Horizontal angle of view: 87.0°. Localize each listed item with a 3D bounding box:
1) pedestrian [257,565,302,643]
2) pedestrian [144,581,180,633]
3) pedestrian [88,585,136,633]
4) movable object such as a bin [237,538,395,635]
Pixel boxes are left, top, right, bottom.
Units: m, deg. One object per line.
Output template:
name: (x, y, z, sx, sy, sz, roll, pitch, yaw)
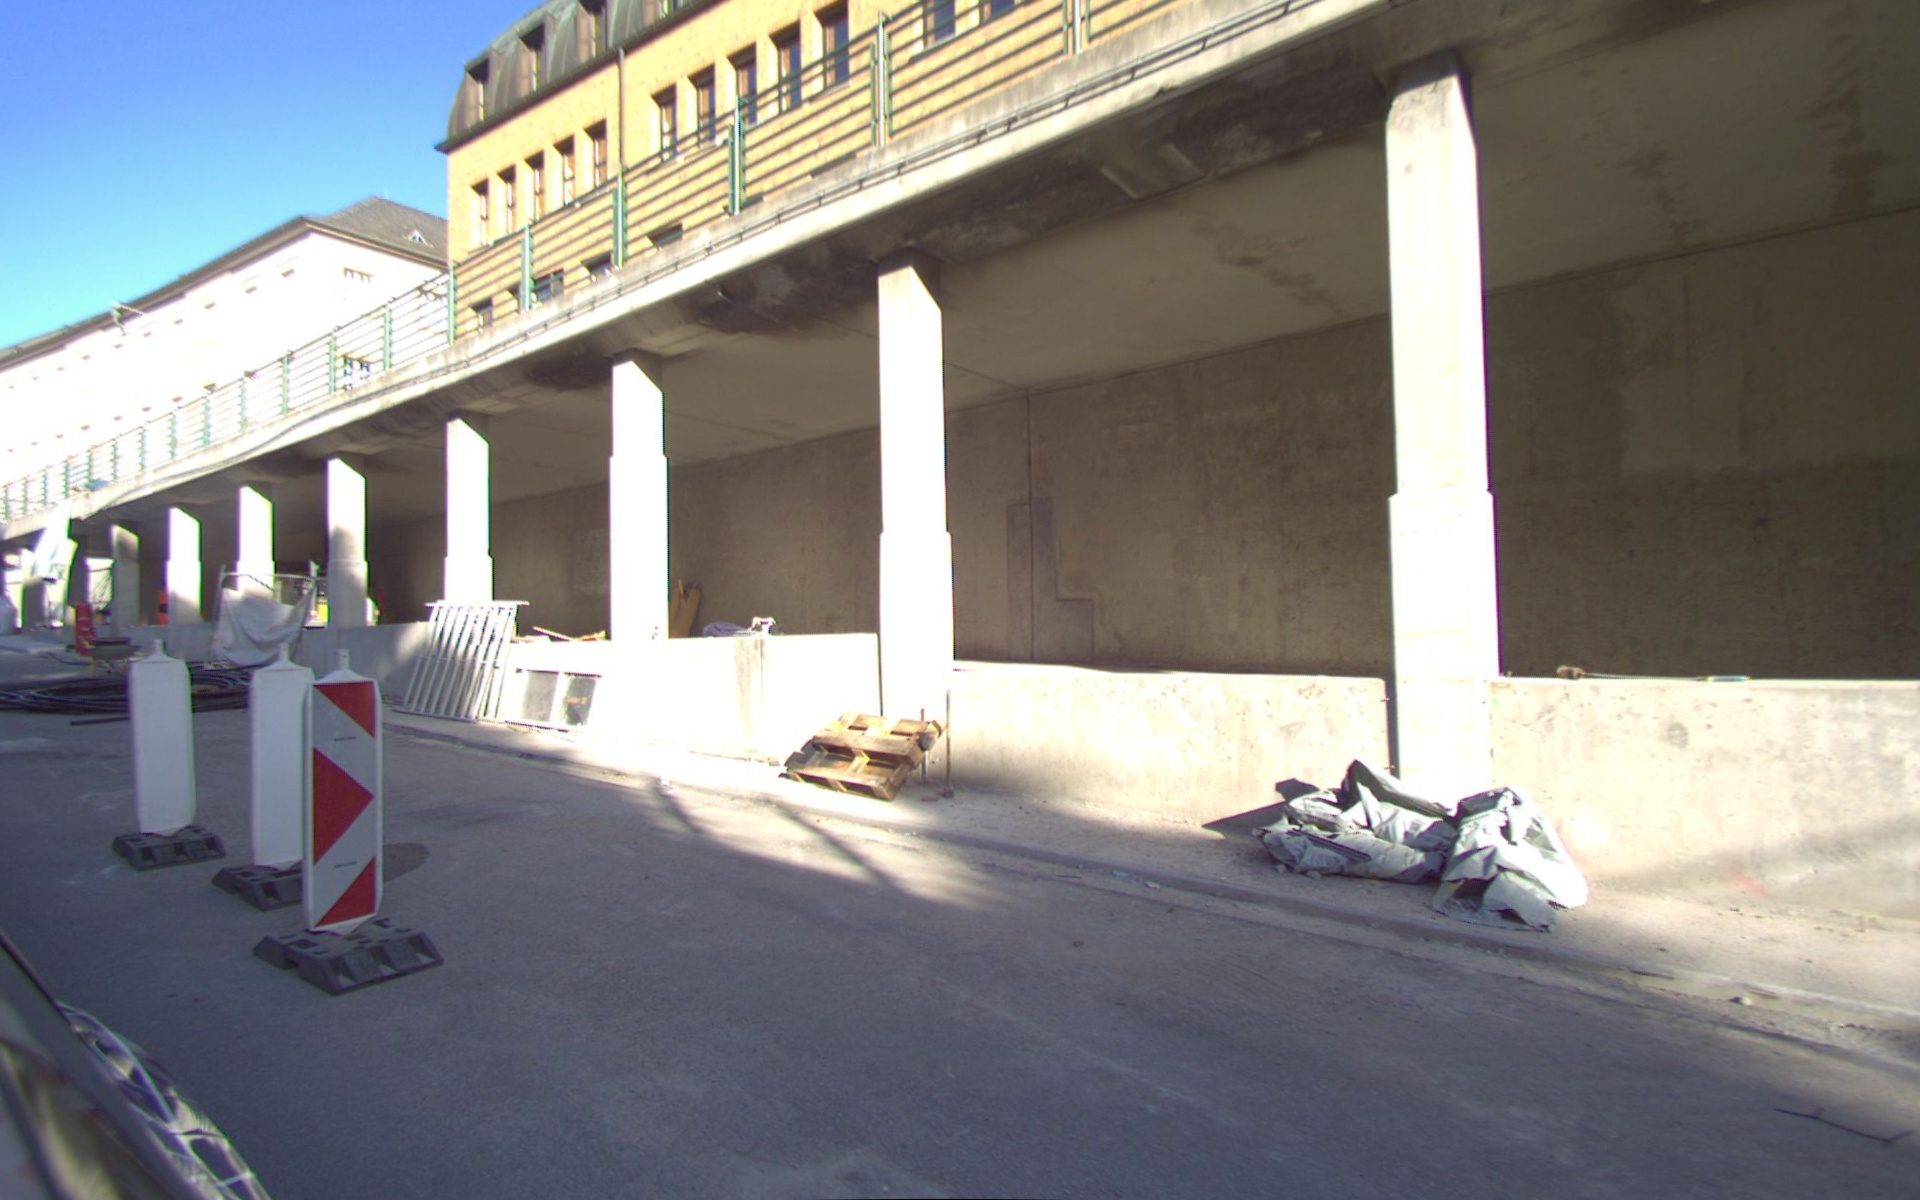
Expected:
pedestrian: (-16.340, 0.086, 24.297, 0.708, 1.828, 0.698, 0, 1, 34)
pedestrian: (-24.927, 0.229, 31.602, 0.628, 1.591, 0.645, 1, -1, 27)
pedestrian: (-25.815, 0.279, 30.802, 0.779, 1.409, 0.866, 1, -1, 27)
movable object such as a bin: (-14.265, -0.278, 22.400, 3.151, 2.002, 1.869, 0, 0, 35)
